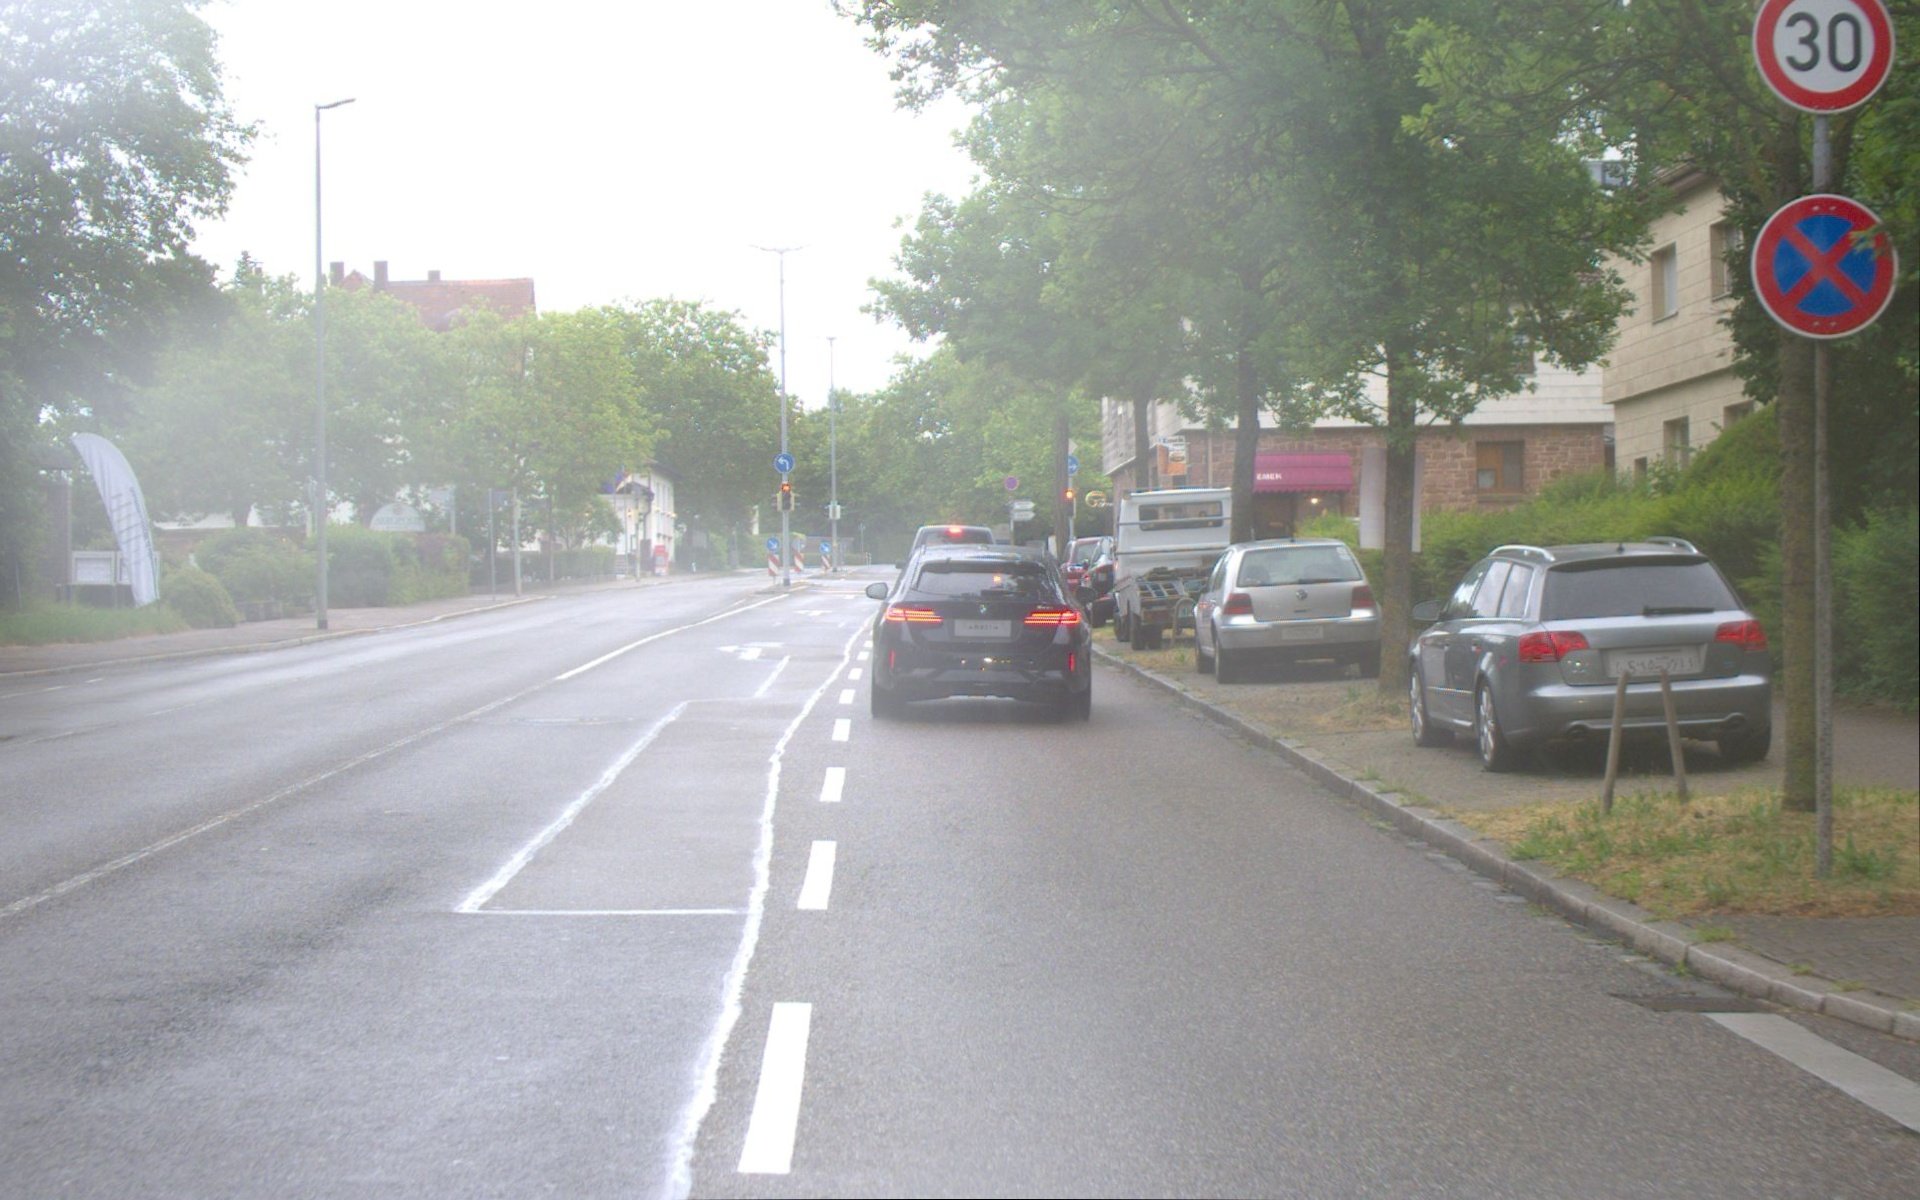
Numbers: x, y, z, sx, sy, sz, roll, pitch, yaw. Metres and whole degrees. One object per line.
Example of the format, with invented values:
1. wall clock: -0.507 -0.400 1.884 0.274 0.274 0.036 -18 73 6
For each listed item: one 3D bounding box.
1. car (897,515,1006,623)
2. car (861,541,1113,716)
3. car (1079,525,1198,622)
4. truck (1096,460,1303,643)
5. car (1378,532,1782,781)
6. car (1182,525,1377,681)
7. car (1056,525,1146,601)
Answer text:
1. car: -0.181 -0.569 59.879 1.783 1.811 4.001 0 1 -2
2. car: 0.161 0.205 30.976 2.064 1.441 4.483 1 1 -2
3. car: 3.007 -0.480 58.556 1.714 1.493 4.184 -3 1 0
4. truck: 3.179 -0.680 47.015 2.080 2.214 6.502 -3 1 -2
5. car: 3.981 0.293 22.785 1.688 1.385 4.500 -3 1 -2
6. car: 3.329 -0.011 36.386 1.601 1.431 4.022 -3 2 0
7. car: 3.025 -0.826 74.143 1.584 1.485 3.628 -3 2 -2
